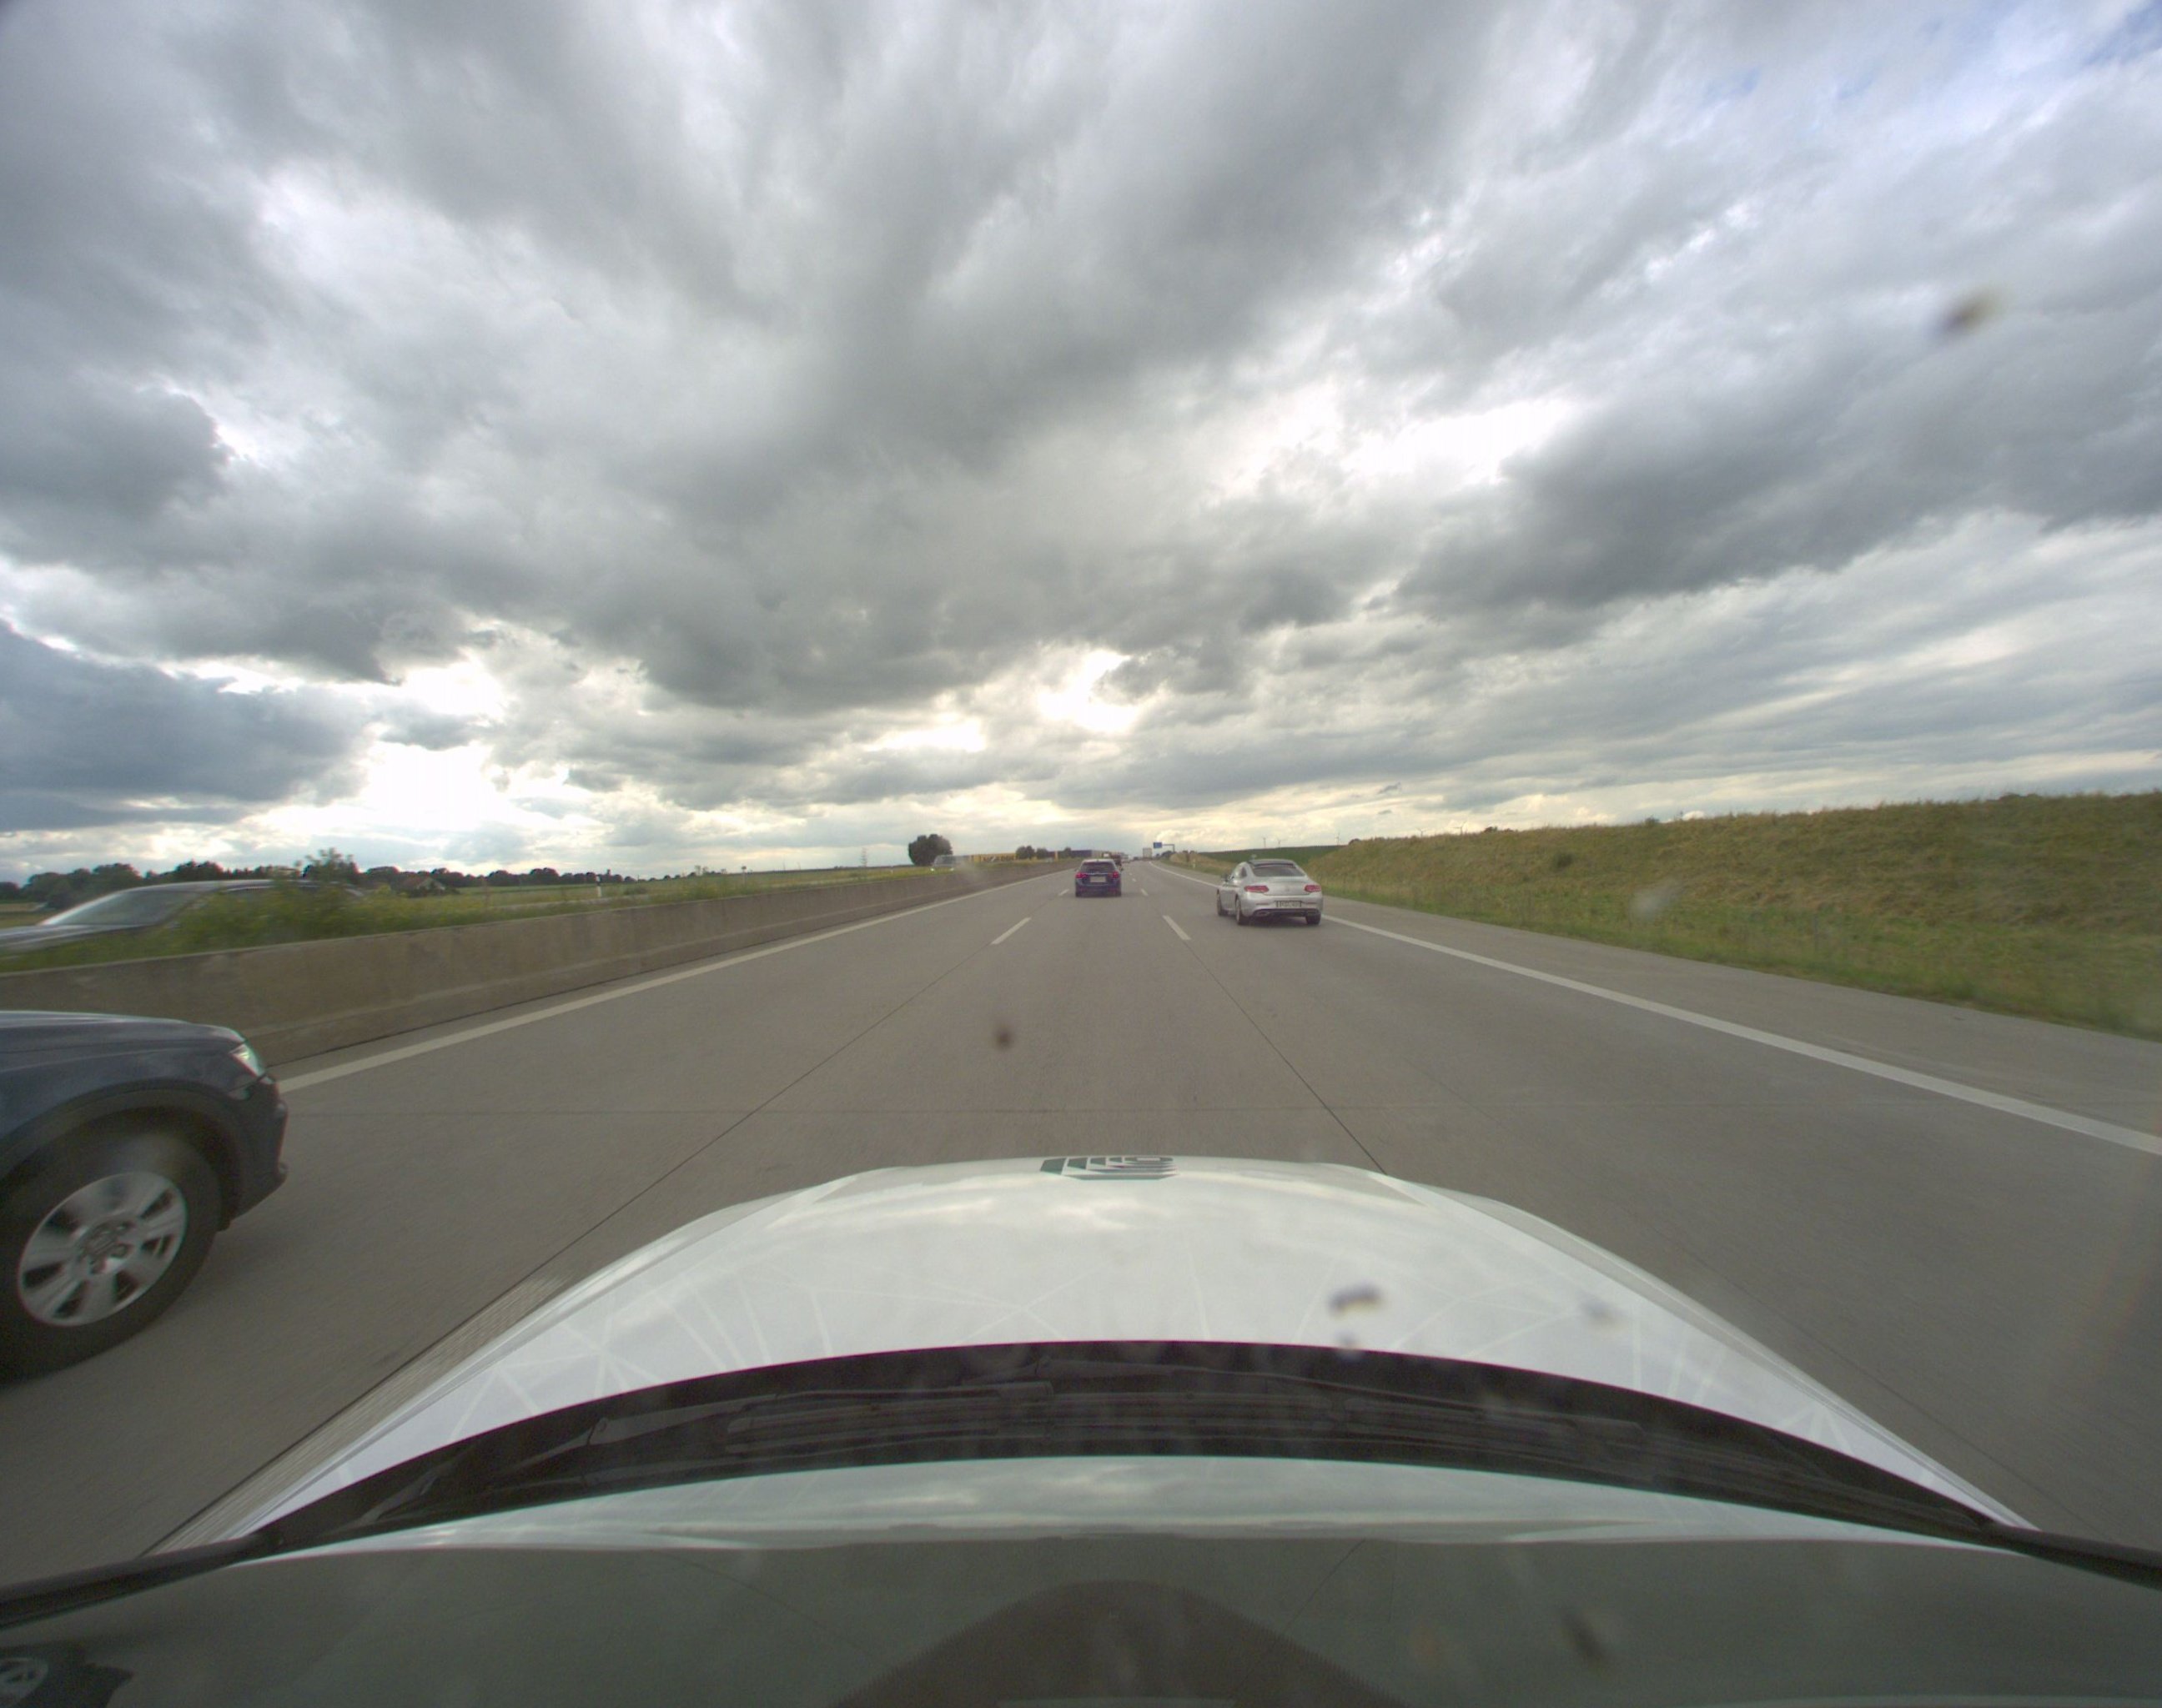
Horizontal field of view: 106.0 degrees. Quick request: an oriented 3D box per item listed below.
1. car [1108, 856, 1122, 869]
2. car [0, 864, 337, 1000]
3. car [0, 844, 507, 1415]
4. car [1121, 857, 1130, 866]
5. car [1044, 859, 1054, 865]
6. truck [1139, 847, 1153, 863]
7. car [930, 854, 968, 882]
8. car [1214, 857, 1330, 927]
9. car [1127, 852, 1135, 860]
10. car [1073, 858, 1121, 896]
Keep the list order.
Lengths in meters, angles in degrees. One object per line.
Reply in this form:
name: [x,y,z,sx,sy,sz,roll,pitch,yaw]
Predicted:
car: [5.357,1.319,128.002,1.987,2.014,3.999,0,-1,0]
car: [-12.933,1.012,11.608,1.544,1.647,3.260,0,-2,2]
car: [-3.924,0.774,1.694,1.787,1.596,5.156,0,0,0]
car: [10.099,1.675,185.663,1.985,2.014,4.003,0,0,3]
car: [-7.957,2.079,203.986,1.889,1.470,4.854,-1,-1,3]
truck: [20.638,0.282,260.027,3.935,4.756,12.080,0,-1,2]
car: [-10.033,1.028,62.355,1.986,2.013,4.632,0,0,2]
car: [4.248,0.800,18.760,1.782,1.403,4.223,-1,-1,2]
car: [14.522,0.560,236.033,1.986,2.014,4.001,0,-1,2]
car: [0.653,0.874,32.196,1.768,1.413,4.001,-1,-1,2]
